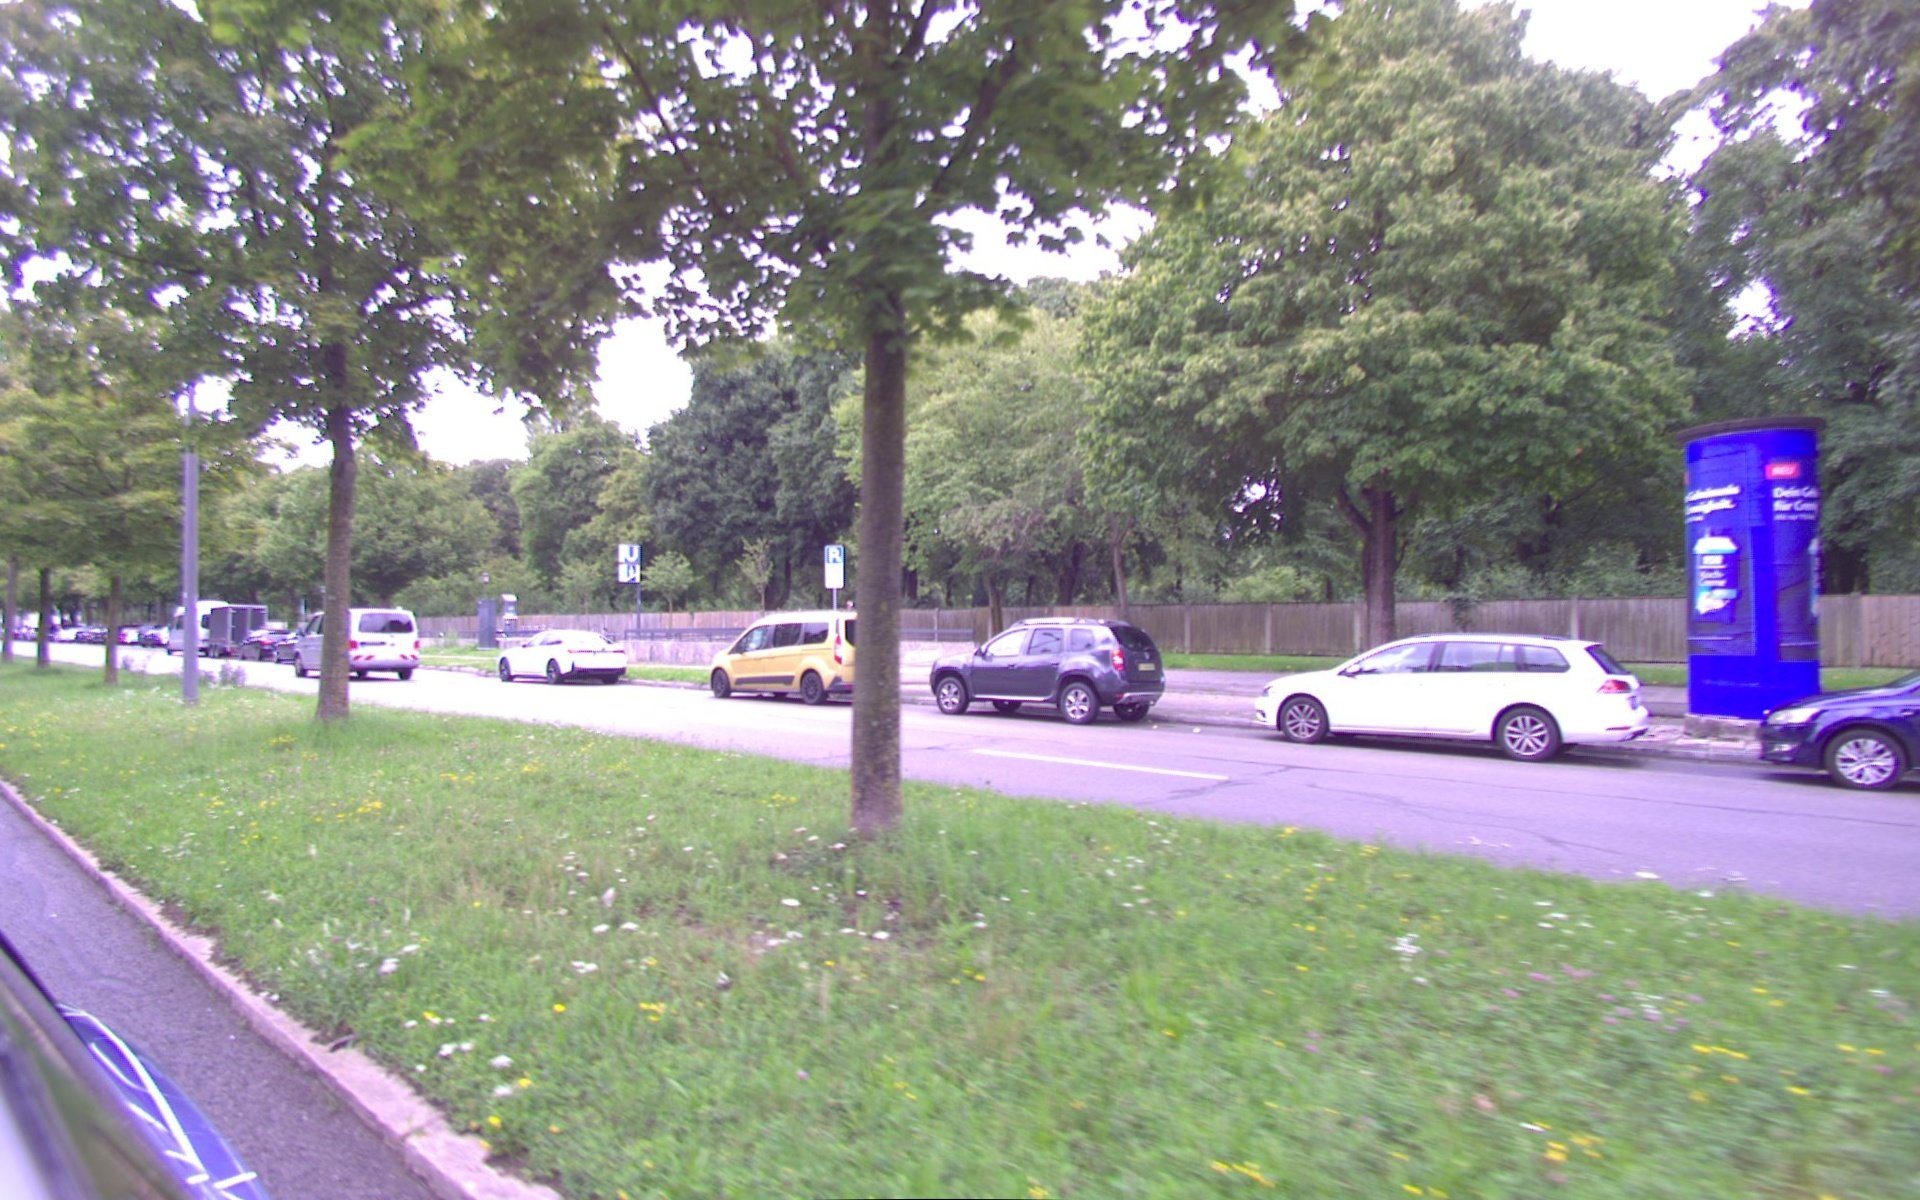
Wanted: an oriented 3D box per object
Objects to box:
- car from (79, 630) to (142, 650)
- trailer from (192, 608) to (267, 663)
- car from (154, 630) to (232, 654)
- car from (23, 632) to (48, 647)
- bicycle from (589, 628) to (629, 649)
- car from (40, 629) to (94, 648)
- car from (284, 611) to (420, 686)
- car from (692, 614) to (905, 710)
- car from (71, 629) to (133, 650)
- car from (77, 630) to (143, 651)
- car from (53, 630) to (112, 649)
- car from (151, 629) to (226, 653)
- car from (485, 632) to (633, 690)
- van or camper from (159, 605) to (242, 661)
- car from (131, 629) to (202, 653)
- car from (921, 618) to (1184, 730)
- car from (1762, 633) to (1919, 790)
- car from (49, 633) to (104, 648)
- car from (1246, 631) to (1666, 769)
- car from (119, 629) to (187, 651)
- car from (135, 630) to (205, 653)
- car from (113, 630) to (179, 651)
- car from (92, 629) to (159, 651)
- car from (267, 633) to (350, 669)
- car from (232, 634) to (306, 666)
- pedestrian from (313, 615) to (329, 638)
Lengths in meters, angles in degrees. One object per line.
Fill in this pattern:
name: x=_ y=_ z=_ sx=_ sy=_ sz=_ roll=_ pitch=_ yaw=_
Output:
car: x=-74.266 y=3.492 z=88.554 sx=1.870 sy=1.569 sz=3.989 roll=-2 pitch=0 yaw=9
trailer: x=-36.334 y=1.769 z=50.284 sx=4.657 sy=2.610 sz=1.995 roll=-2 pitch=-3 yaw=42
car: x=-53.017 y=2.902 z=70.053 sx=1.780 sy=1.449 sz=4.315 roll=-1 pitch=0 yaw=7
car: x=-99.722 y=4.254 z=109.152 sx=1.864 sy=1.454 sz=4.171 roll=0 pitch=-1 yaw=-45
bicycle: x=-16.252 y=1.770 z=46.896 sx=0.432 sy=0.937 sz=1.801 roll=-2 pitch=-1 yaw=40
car: x=-90.719 y=3.865 z=102.868 sx=1.760 sy=1.741 sz=3.992 roll=-1 pitch=0 yaw=7
car: x=-17.338 y=1.345 z=28.763 sx=4.991 sy=1.948 sz=1.781 roll=-1 pitch=-3 yaw=41
car: x=-3.469 y=1.245 z=21.155 sx=4.816 sy=1.796 sz=1.795 roll=-2 pitch=-3 yaw=42
car: x=-76.572 y=3.511 z=90.363 sx=1.870 sy=1.569 sz=3.989 roll=-2 pitch=0 yaw=9
car: x=-71.907 y=3.387 z=85.695 sx=1.870 sy=1.569 sz=3.989 roll=-2 pitch=0 yaw=9
car: x=-83.391 y=3.768 z=96.244 sx=1.870 sy=1.569 sz=3.989 roll=-2 pitch=0 yaw=9
car: x=-55.445 y=2.908 z=72.841 sx=1.780 sy=1.585 sz=4.315 roll=-1 pitch=0 yaw=7
car: x=-11.346 y=1.670 z=28.475 sx=4.872 sy=1.484 sz=1.837 roll=-2 pitch=-3 yaw=41
van or camper: x=-40.848 y=1.786 z=54.319 sx=7.543 sy=2.859 sz=2.013 roll=-2 pitch=-3 yaw=42
car: x=-60.048 y=3.060 z=76.643 sx=1.783 sy=1.599 sz=3.985 roll=-2 pitch=0 yaw=12
car: x=1.469 y=1.183 z=17.119 sx=4.253 sy=1.658 sz=1.719 roll=-2 pitch=-3 yaw=41
car: x=9.902 y=1.030 z=9.332 sx=3.893 sy=1.428 sz=1.597 roll=-2 pitch=-3 yaw=39
car: x=-85.848 y=3.913 z=98.379 sx=1.575 sy=1.376 sz=3.987 roll=-1 pitch=0 yaw=11
car: x=6.165 y=1.151 z=12.930 sx=4.530 sy=1.461 sz=1.744 roll=-2 pitch=-3 yaw=41
car: x=-64.563 y=3.170 z=81.047 sx=1.873 sy=1.474 sz=3.983 roll=-2 pitch=0 yaw=13
car: x=-58.011 y=3.043 z=74.424 sx=1.780 sy=1.497 sz=3.992 roll=-2 pitch=0 yaw=6
car: x=-66.810 y=3.313 z=83.104 sx=1.723 sy=1.466 sz=3.983 roll=-2 pitch=0 yaw=13
car: x=-69.571 y=3.345 z=84.476 sx=1.873 sy=1.569 sz=3.983 roll=-2 pitch=0 yaw=13
car: x=-27.197 y=2.091 z=42.197 sx=4.429 sy=1.436 sz=1.781 roll=-2 pitch=-3 yaw=42
car: x=-31.762 y=2.267 z=46.479 sx=4.236 sy=1.394 sz=1.781 roll=-2 pitch=-3 yaw=42
pedestrian: x=-49.264 y=2.049 z=78.077 sx=0.873 sy=1.781 sz=0.761 roll=-1 pitch=-2 yaw=38
